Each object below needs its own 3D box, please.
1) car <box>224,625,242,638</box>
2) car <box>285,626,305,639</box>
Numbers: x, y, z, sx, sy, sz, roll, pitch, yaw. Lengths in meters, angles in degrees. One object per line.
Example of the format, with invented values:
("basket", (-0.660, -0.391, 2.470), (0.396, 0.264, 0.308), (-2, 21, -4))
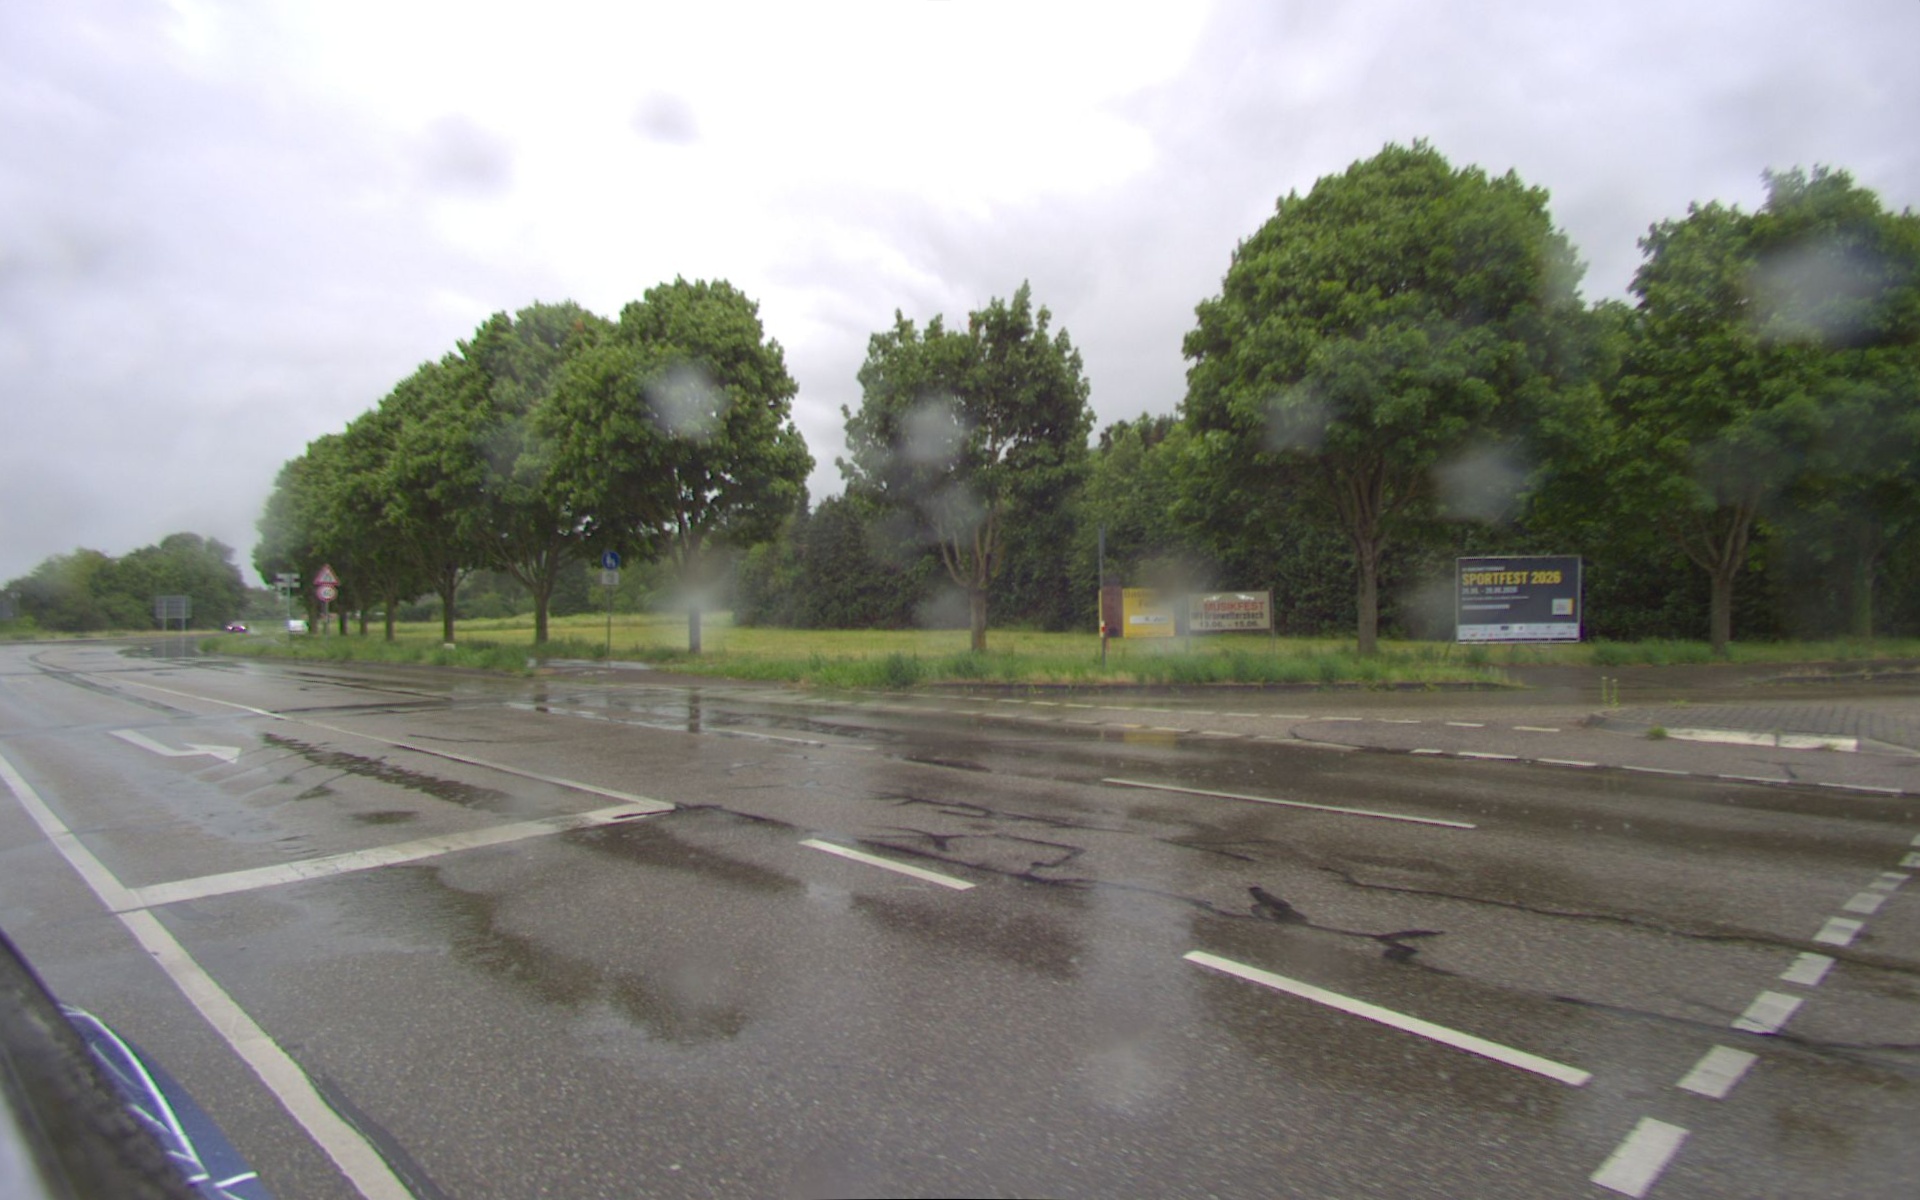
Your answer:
("car", (-97.851, 4.212, 136.296), (1.885, 1.701, 4.114), (0, 0, -34))
("car", (-101.118, 4.899, 153.835), (2.077, 1.907, 4.806), (-1, 0, -28))
